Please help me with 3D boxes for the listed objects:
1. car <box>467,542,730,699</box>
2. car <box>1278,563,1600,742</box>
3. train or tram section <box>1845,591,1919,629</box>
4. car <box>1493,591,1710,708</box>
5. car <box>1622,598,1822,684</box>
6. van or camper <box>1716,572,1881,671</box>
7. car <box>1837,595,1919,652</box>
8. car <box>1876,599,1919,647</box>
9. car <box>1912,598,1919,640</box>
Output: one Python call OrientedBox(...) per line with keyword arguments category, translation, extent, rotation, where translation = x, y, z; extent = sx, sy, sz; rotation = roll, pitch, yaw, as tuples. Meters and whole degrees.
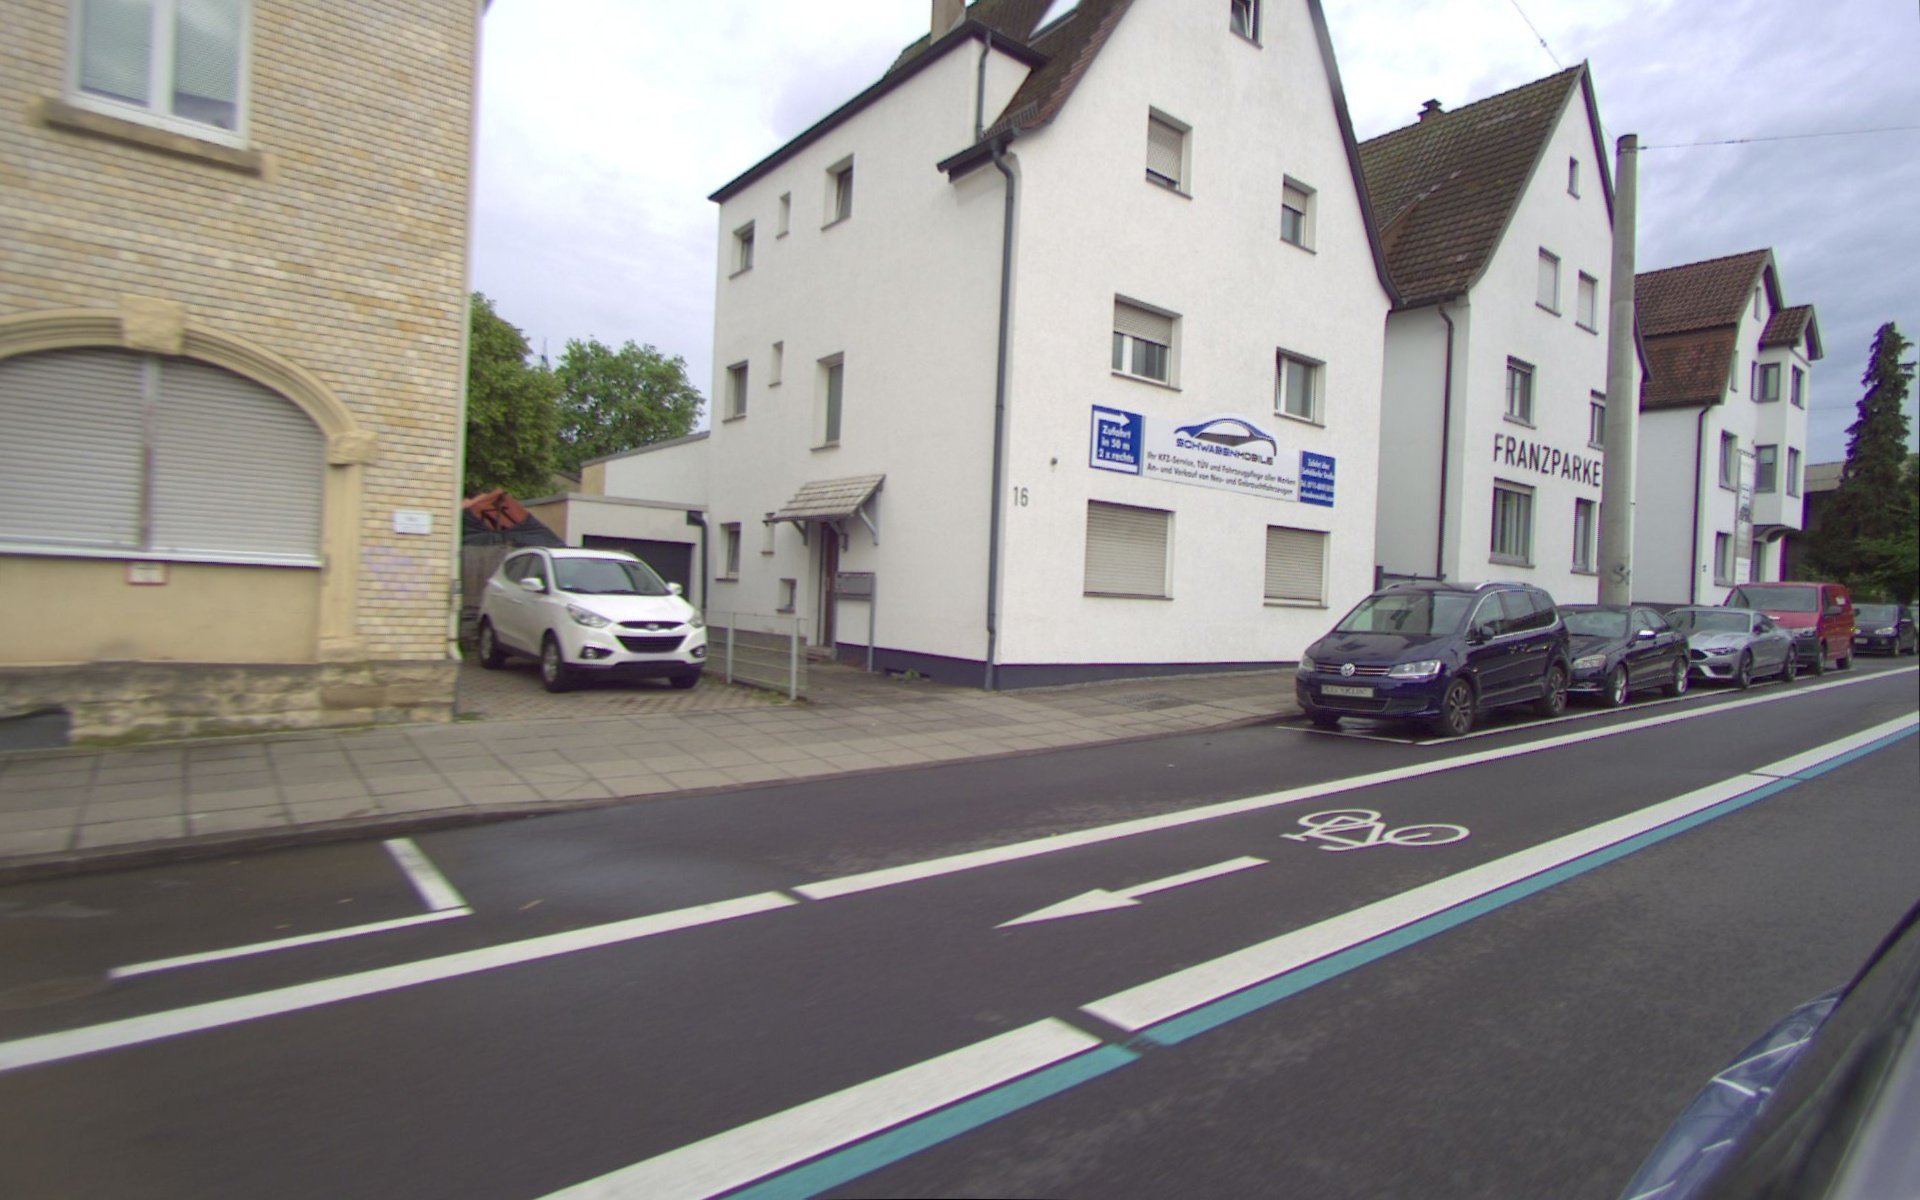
OrientedBox(category="car", translation=(-4.769, 0.147, 13.009), extent=(1.838, 1.674, 3.995), rotation=(1, 2, -41))
OrientedBox(category="car", translation=(6.050, 0.548, 12.532), extent=(4.603, 1.823, 1.843), rotation=(0, -1, -40))
OrientedBox(category="train or tram section", translation=(105.091, 1.043, 111.766), extent=(2.836, 4.021, 19.235), rotation=(0, 0, 15))
OrientedBox(category="car", translation=(9.885, 0.673, 15.485), extent=(4.062, 1.558, 1.637), rotation=(0, -1, -40))
OrientedBox(category="car", translation=(14.329, 0.683, 18.943), extent=(4.584, 1.393, 1.801), rotation=(0, 1, -37))
OrientedBox(category="van or camper", translation=(18.564, 0.402, 22.332), extent=(4.905, 1.944, 1.856), rotation=(0, 2, -39))
OrientedBox(category="car", translation=(26.824, 0.630, 29.204), extent=(3.652, 1.469, 1.582), rotation=(-1, 2, -37))
OrientedBox(category="car", translation=(30.563, 0.698, 31.936), extent=(4.482, 1.430, 1.716), rotation=(0, 1, -38))
OrientedBox(category="car", translation=(35.046, 0.665, 35.543), extent=(4.482, 1.441, 1.681), rotation=(0, 1, -38))
